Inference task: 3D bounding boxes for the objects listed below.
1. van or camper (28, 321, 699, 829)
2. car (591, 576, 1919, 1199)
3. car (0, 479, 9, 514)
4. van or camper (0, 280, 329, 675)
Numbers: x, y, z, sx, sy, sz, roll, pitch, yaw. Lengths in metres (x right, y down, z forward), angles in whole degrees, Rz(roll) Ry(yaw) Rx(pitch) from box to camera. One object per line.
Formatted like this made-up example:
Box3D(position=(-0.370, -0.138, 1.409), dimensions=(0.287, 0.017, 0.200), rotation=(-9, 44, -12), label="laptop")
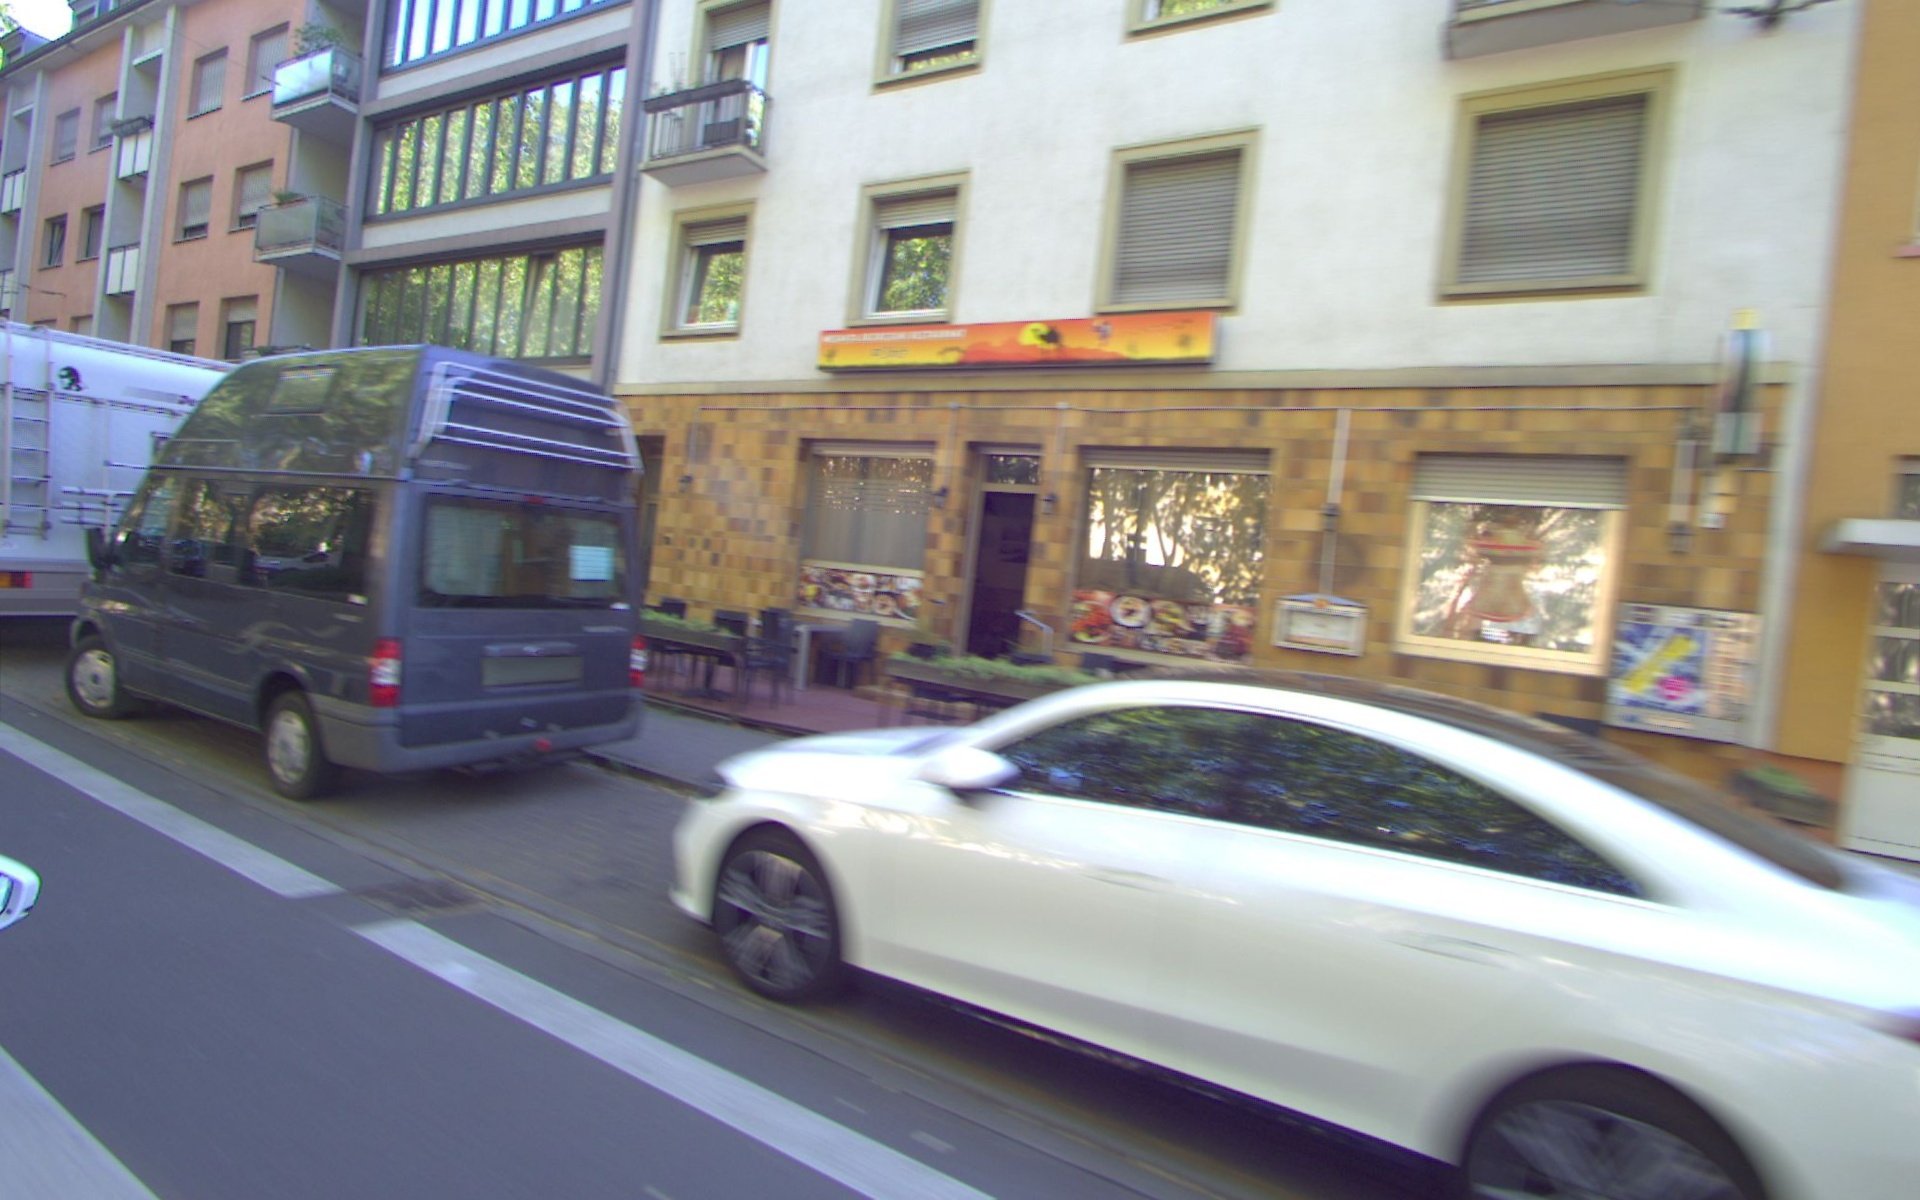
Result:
Box3D(position=(-4.596, -0.322, 7.513), dimensions=(4.896, 2.698, 2.133), rotation=(7, 2, 31), label="van or camper")
Box3D(position=(0.942, 0.925, 3.970), dimensions=(4.661, 1.513, 1.994), rotation=(7, 2, 32), label="car")
Box3D(position=(-45.233, -4.948, 44.740), dimensions=(1.535, 1.500, 3.920), rotation=(10, 1, 30), label="car")
Box3D(position=(-9.658, -1.213, 10.530), dimensions=(6.162, 3.104, 2.463), rotation=(7, 2, 30), label="van or camper")
